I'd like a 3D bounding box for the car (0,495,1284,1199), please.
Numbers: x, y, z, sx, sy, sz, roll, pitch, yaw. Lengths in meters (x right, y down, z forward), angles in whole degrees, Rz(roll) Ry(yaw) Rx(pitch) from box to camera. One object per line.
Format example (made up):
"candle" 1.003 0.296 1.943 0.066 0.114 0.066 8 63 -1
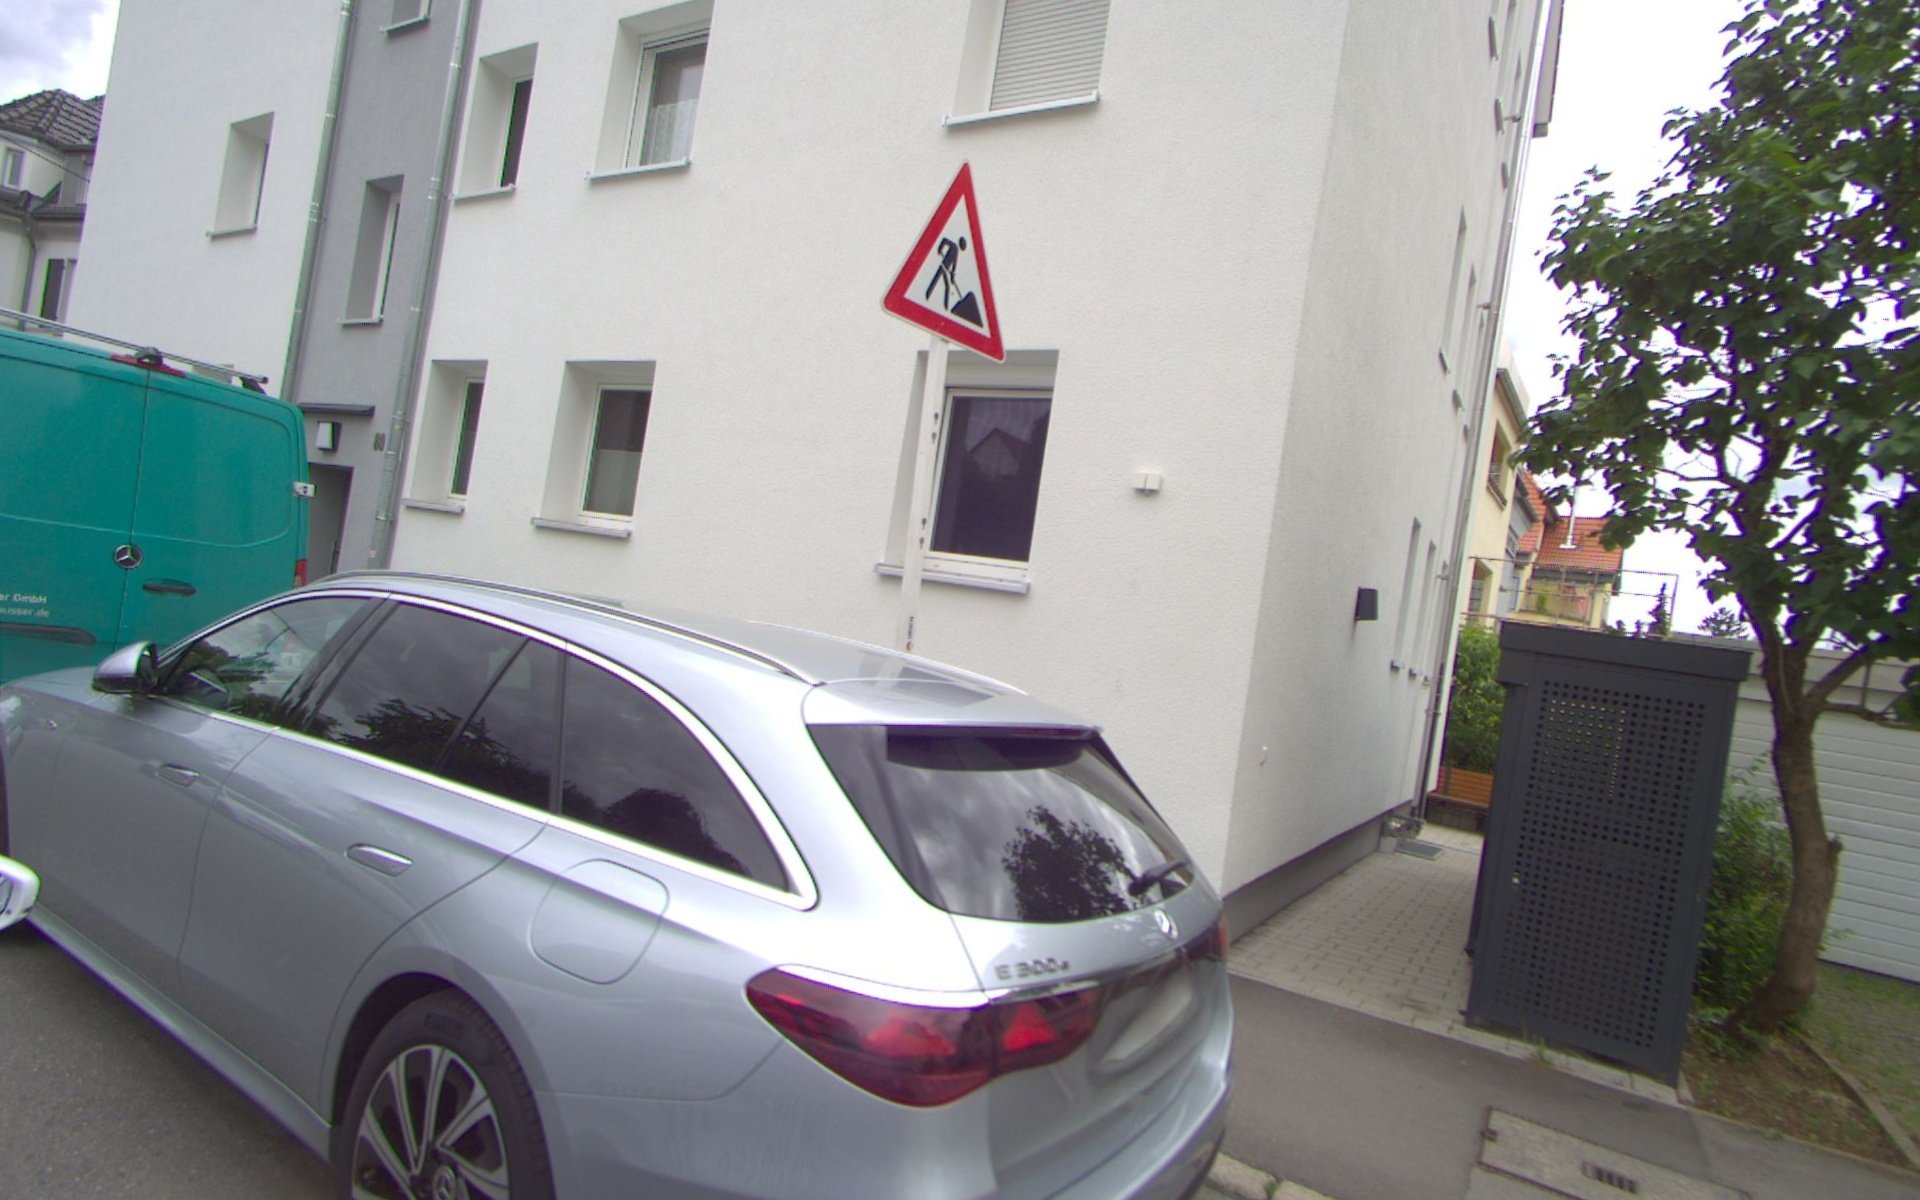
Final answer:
"car" -1.448 0.650 3.263 4.312 1.461 1.829 7 -3 33

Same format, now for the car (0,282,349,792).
"car" -6.572 -0.494 6.689 5.206 2.450 1.997 7 -1 33

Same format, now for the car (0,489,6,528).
"car" -11.366 -0.659 9.772 4.214 1.503 1.823 8 -1 30
